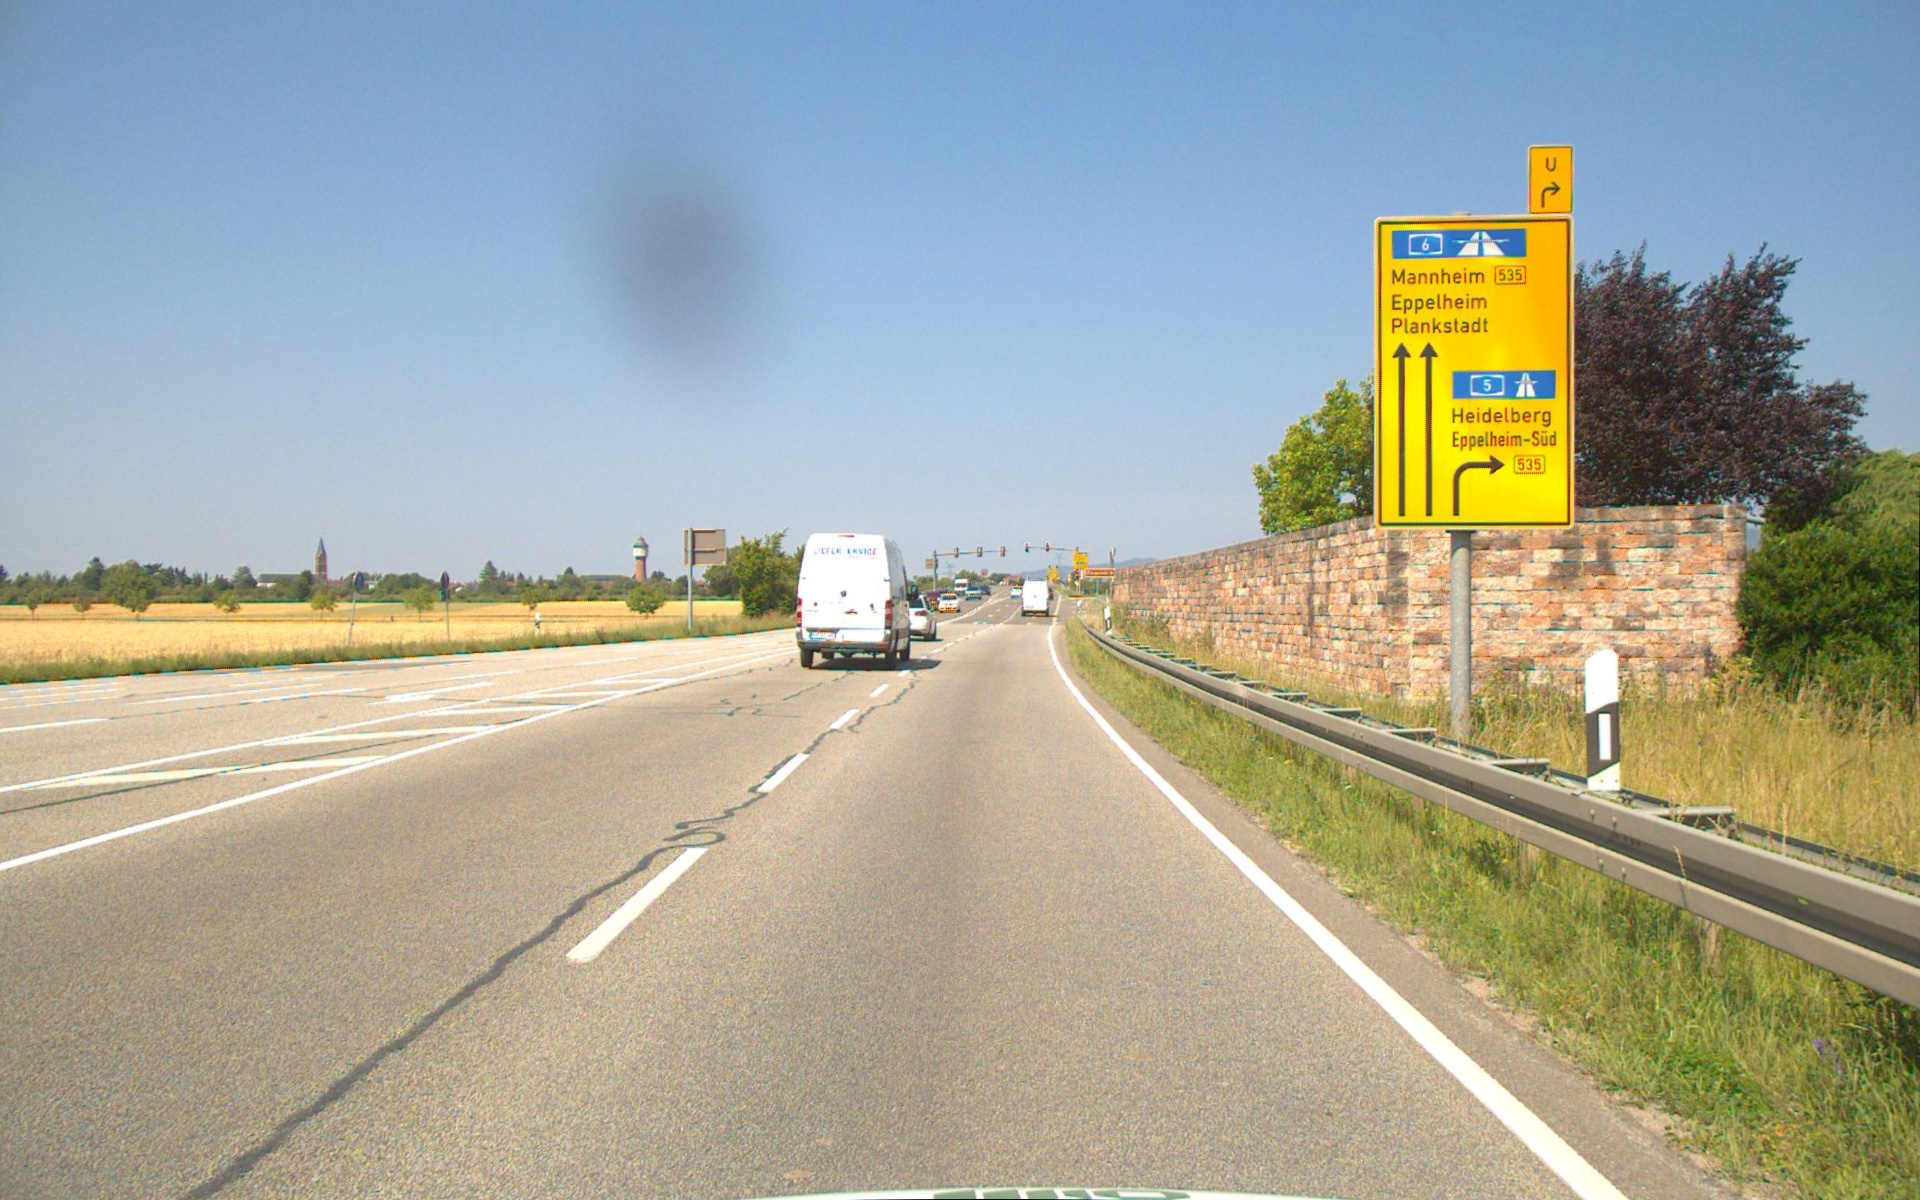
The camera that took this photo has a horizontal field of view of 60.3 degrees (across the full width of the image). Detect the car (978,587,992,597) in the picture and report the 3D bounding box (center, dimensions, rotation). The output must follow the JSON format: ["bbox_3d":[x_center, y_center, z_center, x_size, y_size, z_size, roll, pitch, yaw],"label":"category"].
[{"bbox_3d":[3.855,-1.183,251.908,1.818,1.448,4.002,1,-1,4],"label":"car"}]

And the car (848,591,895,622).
[{"bbox_3d":[-4.294,0.289,80.754,1.722,1.483,4.233,0,0,4],"label":"car"}]

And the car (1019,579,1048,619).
[{"bbox_3d":[5.347,-0.063,119.266,1.952,2.742,4.971,2,-1,3],"label":"car"}]

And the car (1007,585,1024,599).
[{"bbox_3d":[7.343,-1.015,218.464,1.952,1.733,4.277,2,-1,4],"label":"car"}]

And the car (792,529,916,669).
[{"bbox_3d":[-2.133,-0.027,34.931,1.997,2.665,5.742,2,0,2],"label":"car"}]

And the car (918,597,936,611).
[{"bbox_3d":[-3.363,0.415,170.623,1.832,1.277,4.280,2,-1,-1],"label":"car"}]

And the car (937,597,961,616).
[{"bbox_3d":[-0.846,0.551,132.233,1.712,1.467,4.083,0,0,3],"label":"car"}]

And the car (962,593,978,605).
[{"bbox_3d":[1.271,-0.161,210.351,1.818,1.448,4.002,-1,0,4],"label":"car"}]

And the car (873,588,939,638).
[{"bbox_3d":[-1.720,0.393,53.993,1.762,1.534,4.198,1,1,3],"label":"car"}]
